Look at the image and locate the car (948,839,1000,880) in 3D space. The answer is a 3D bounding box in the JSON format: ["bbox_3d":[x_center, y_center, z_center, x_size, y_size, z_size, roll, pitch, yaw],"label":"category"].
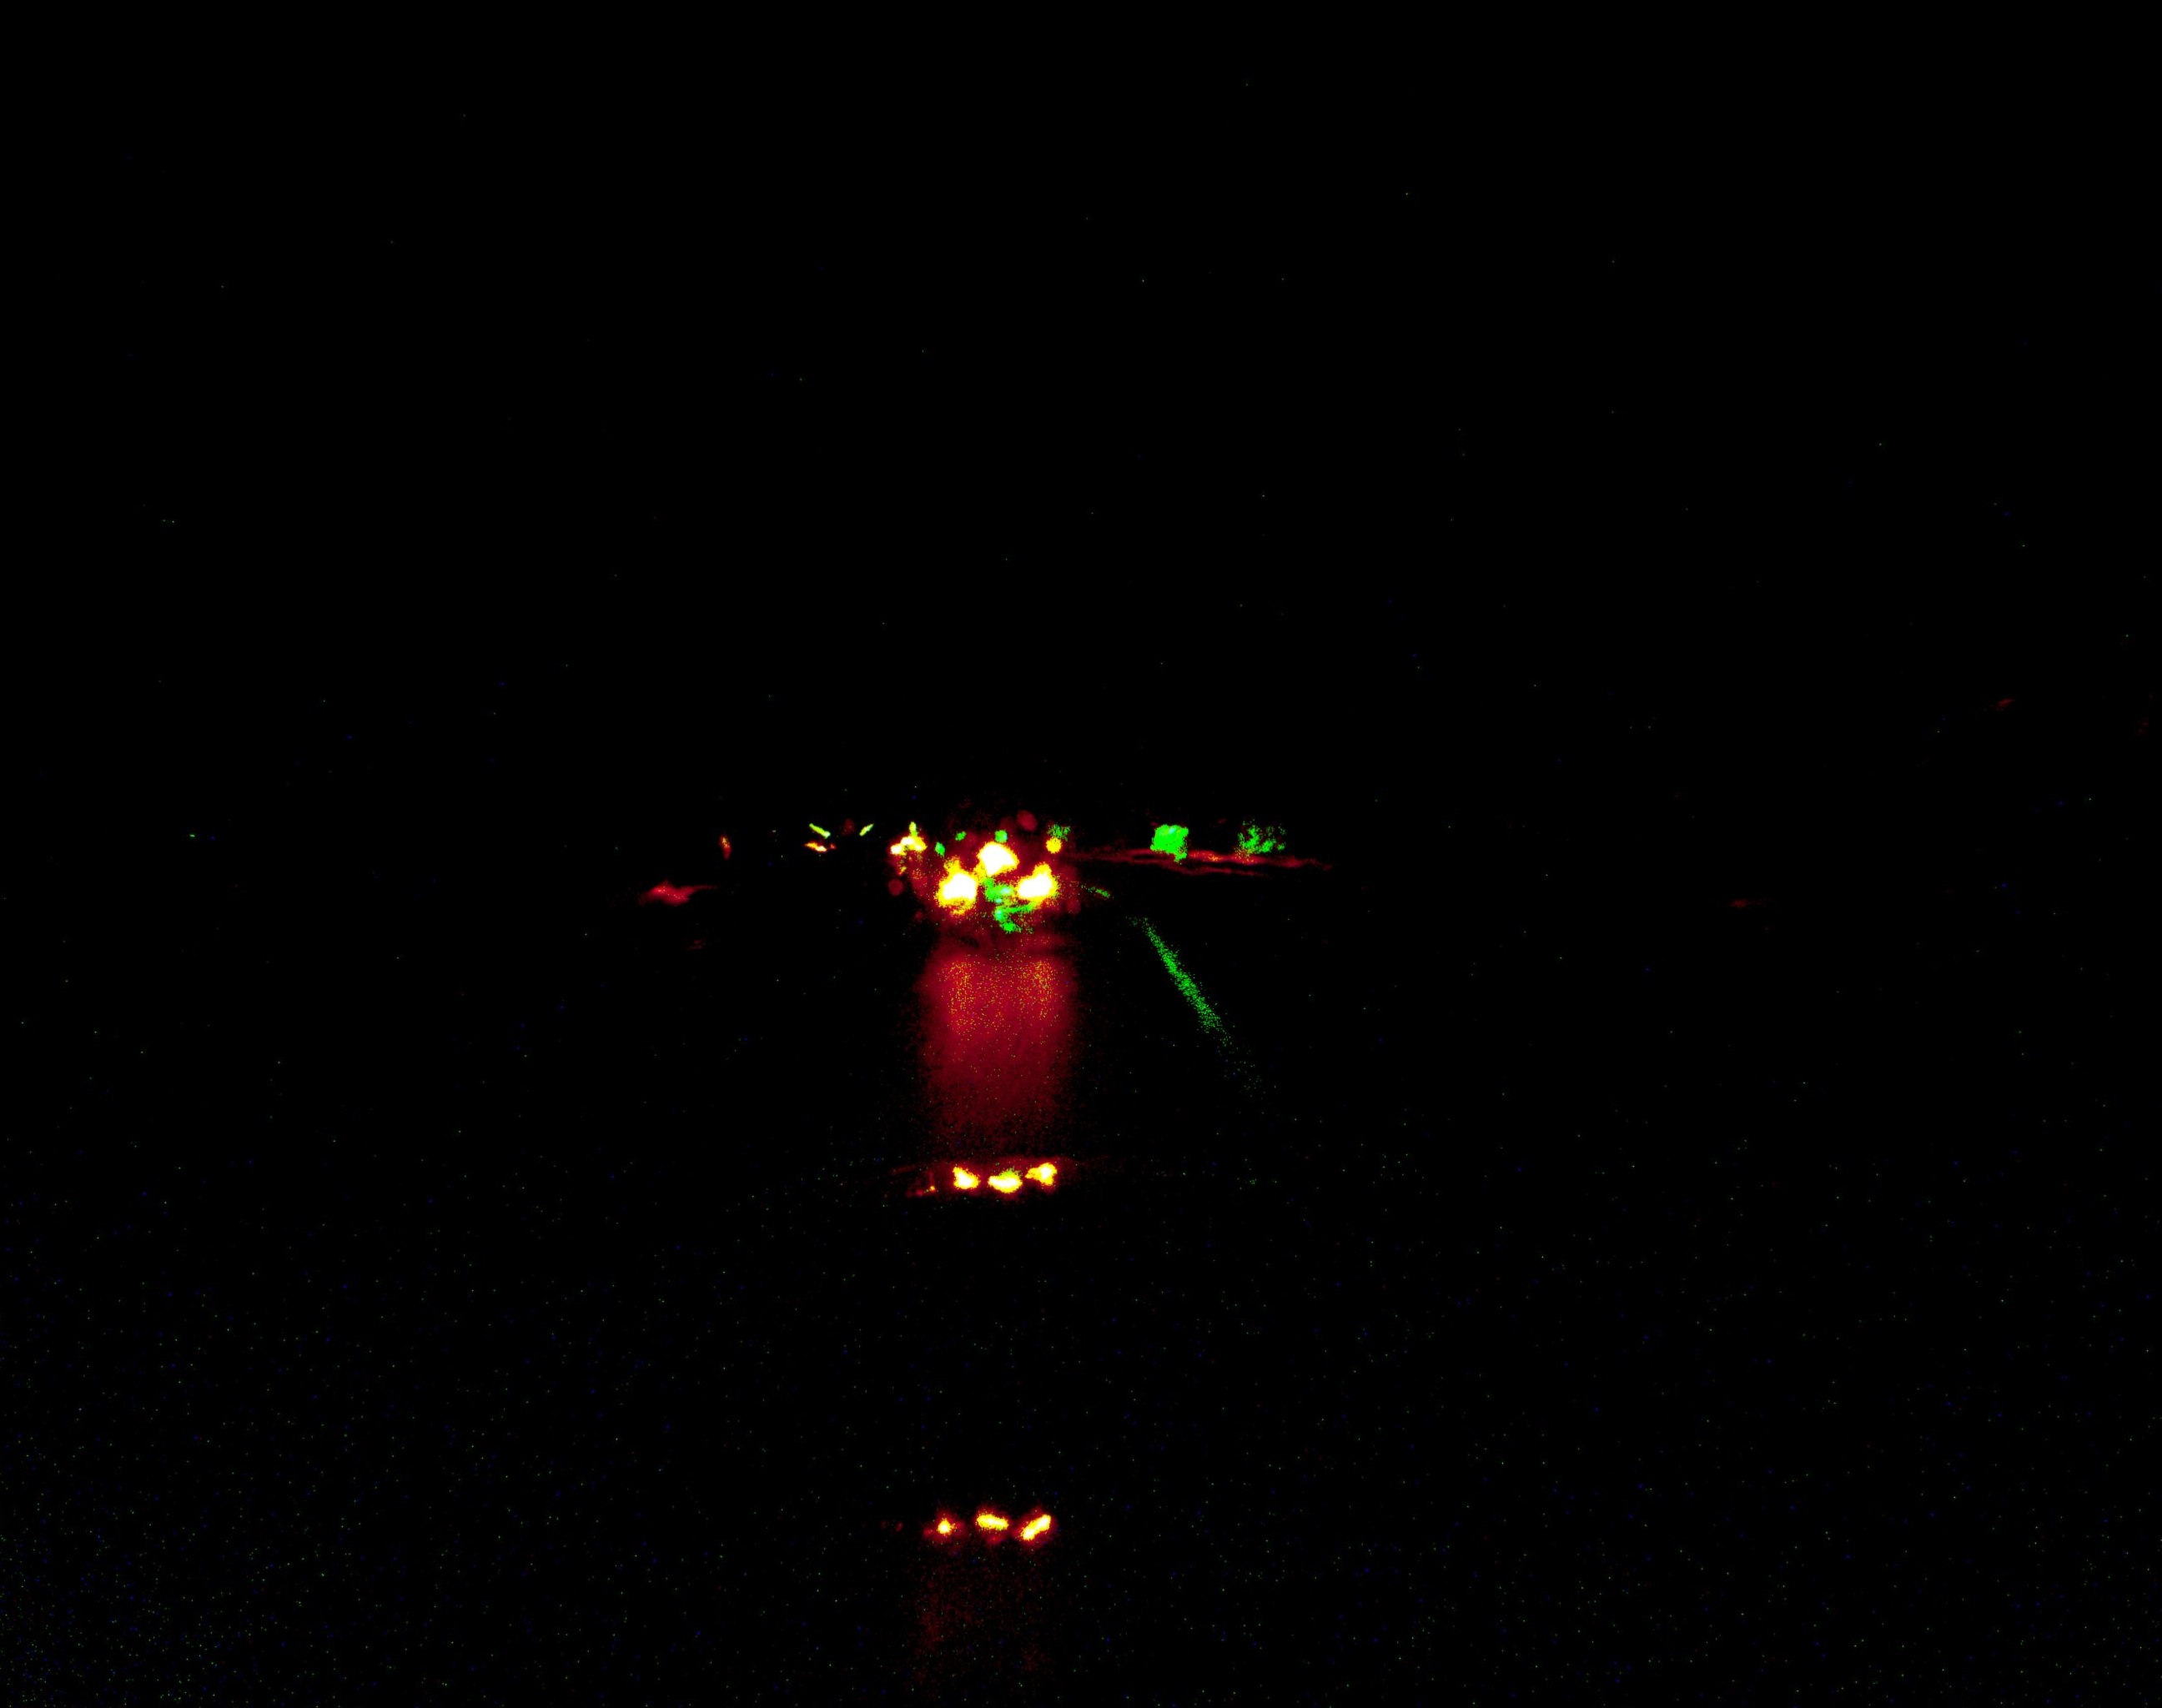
[{"bbox_3d":[-5.032,0.240,38.050,1.898,1.720,4.025,-2,0,-14],"label":"car"}]

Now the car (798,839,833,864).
[{"bbox_3d":[-22.183,-0.252,68.028,1.908,1.997,4.005,-1,1,-31],"label":"car"}]

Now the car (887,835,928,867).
[{"bbox_3d":[-11.909,-0.222,55.704,1.904,2.040,4.013,-1,1,-25],"label":"car"}]

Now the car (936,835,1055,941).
[{"bbox_3d":[-1.570,0.530,15.157,1.858,1.647,4.061,-2,0,-6],"label":"car"}]
